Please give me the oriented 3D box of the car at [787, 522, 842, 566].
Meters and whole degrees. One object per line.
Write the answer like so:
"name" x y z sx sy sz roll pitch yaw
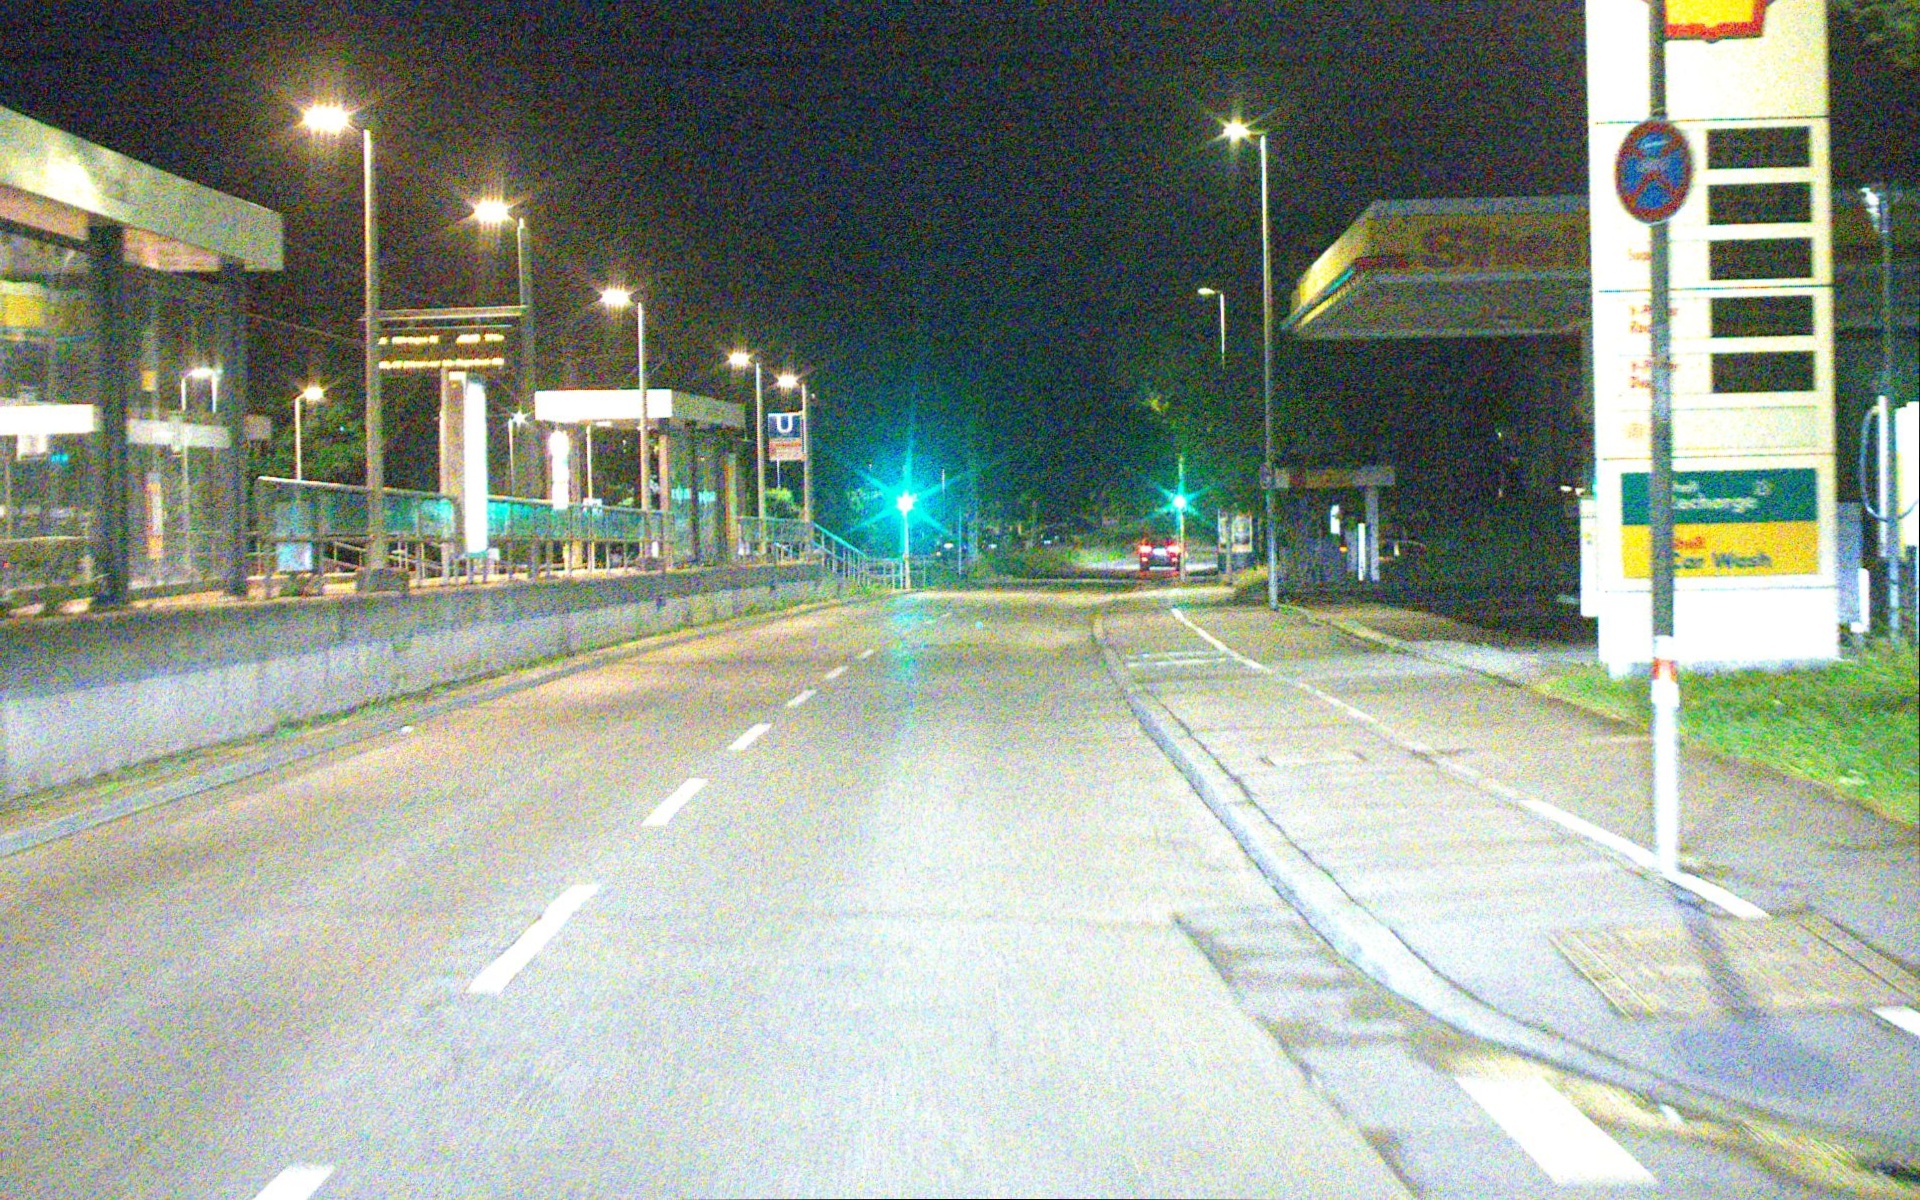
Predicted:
"car" -6.463 -2.494 153.367 1.857 1.897 4.879 -1 1 5

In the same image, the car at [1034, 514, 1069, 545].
"car" 6.696 -5.165 250.991 2.092 2.006 3.999 -5 1 7

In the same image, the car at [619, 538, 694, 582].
"car" -10.578 -1.418 120.144 1.646 1.335 4.542 -5 1 6

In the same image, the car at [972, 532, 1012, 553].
"car" 2.089 -3.707 220.872 1.994 1.333 5.431 -1 1 7

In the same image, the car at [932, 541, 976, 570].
"car" -0.334 -2.592 201.354 1.994 1.622 4.676 -1 1 7

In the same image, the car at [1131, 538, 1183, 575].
"car" 8.666 -1.903 150.640 2.162 1.577 4.013 0 1 5
